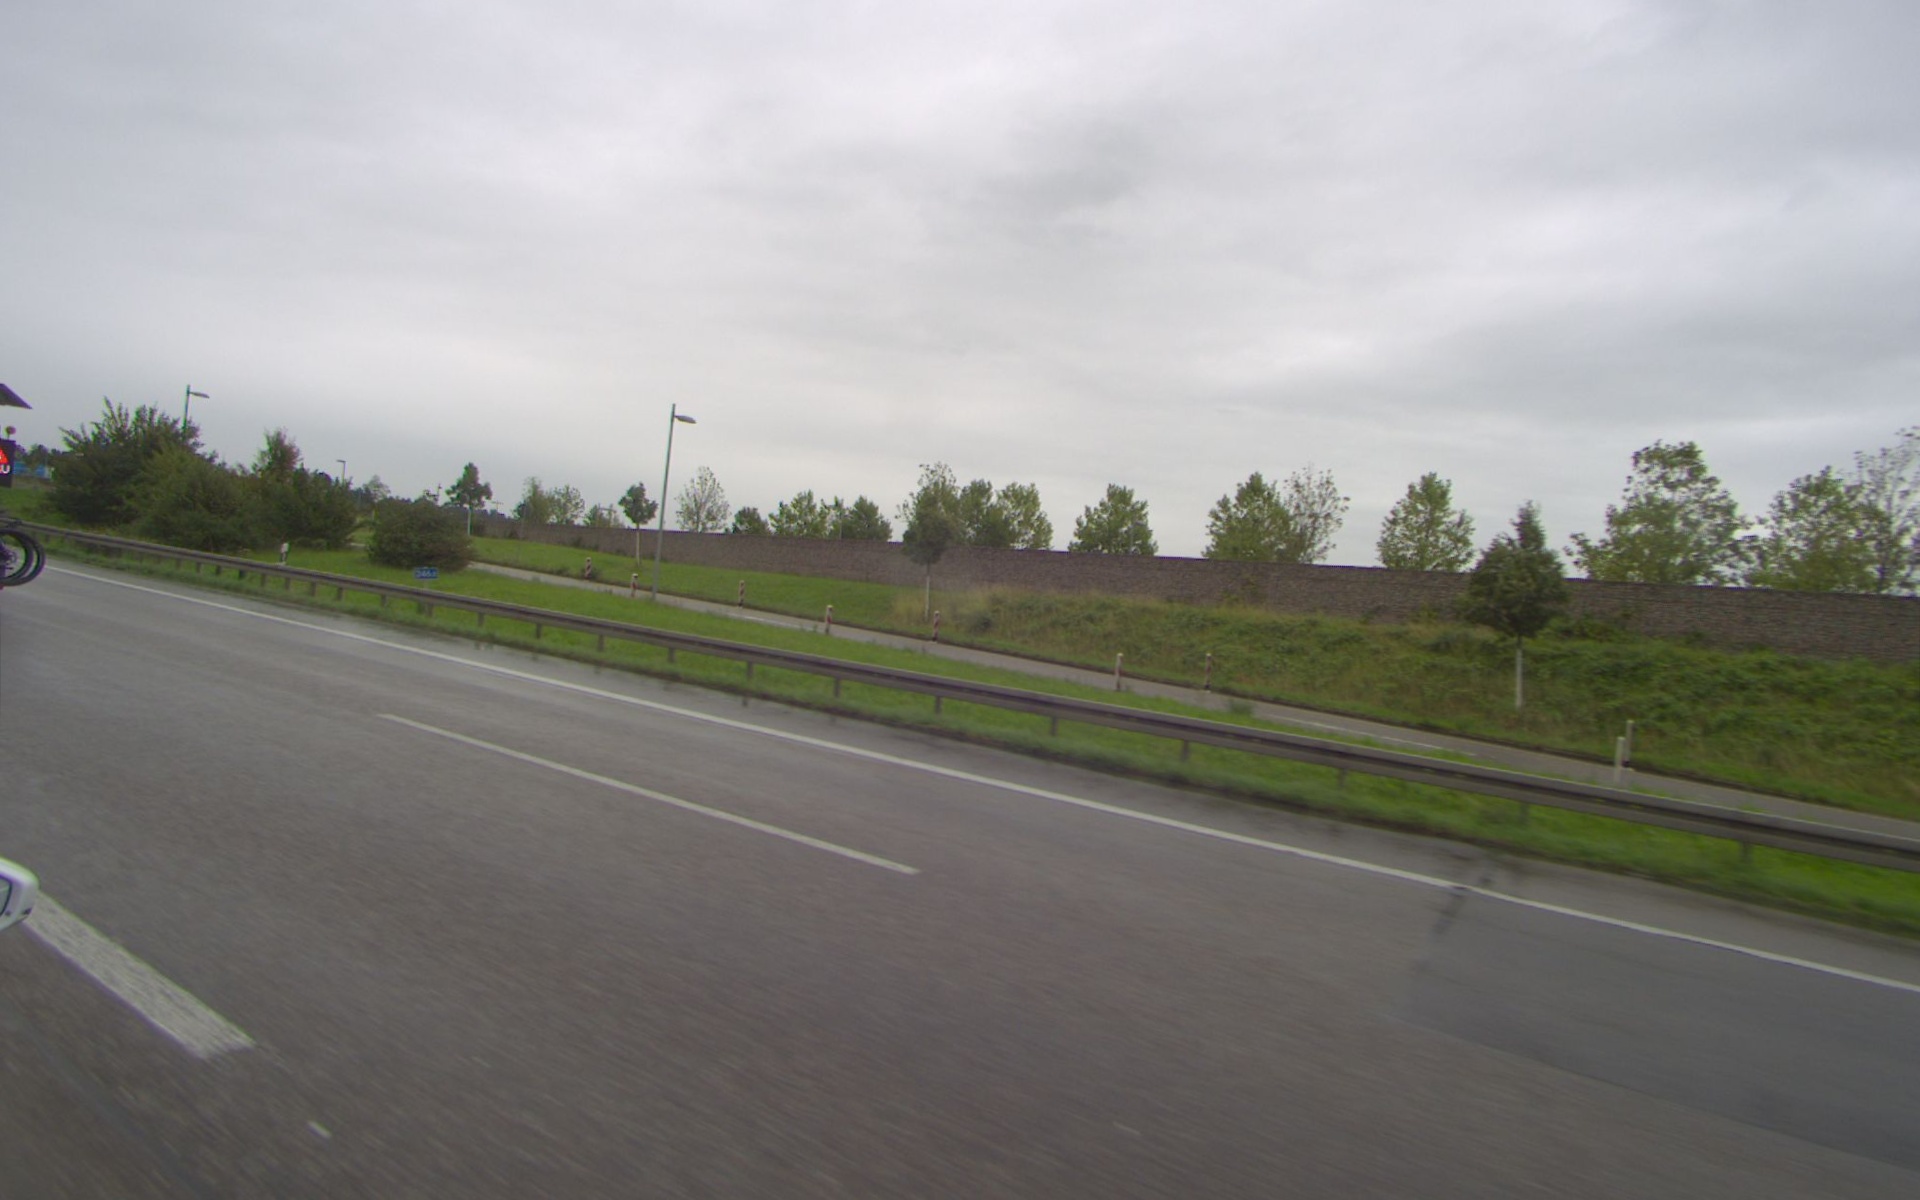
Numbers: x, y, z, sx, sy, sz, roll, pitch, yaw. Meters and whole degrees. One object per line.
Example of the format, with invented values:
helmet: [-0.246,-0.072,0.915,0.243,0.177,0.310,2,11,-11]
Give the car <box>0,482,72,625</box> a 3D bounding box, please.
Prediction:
car: [-14.181,-0.849,13.335,5.431,1.691,2.061,6,-2,32]
